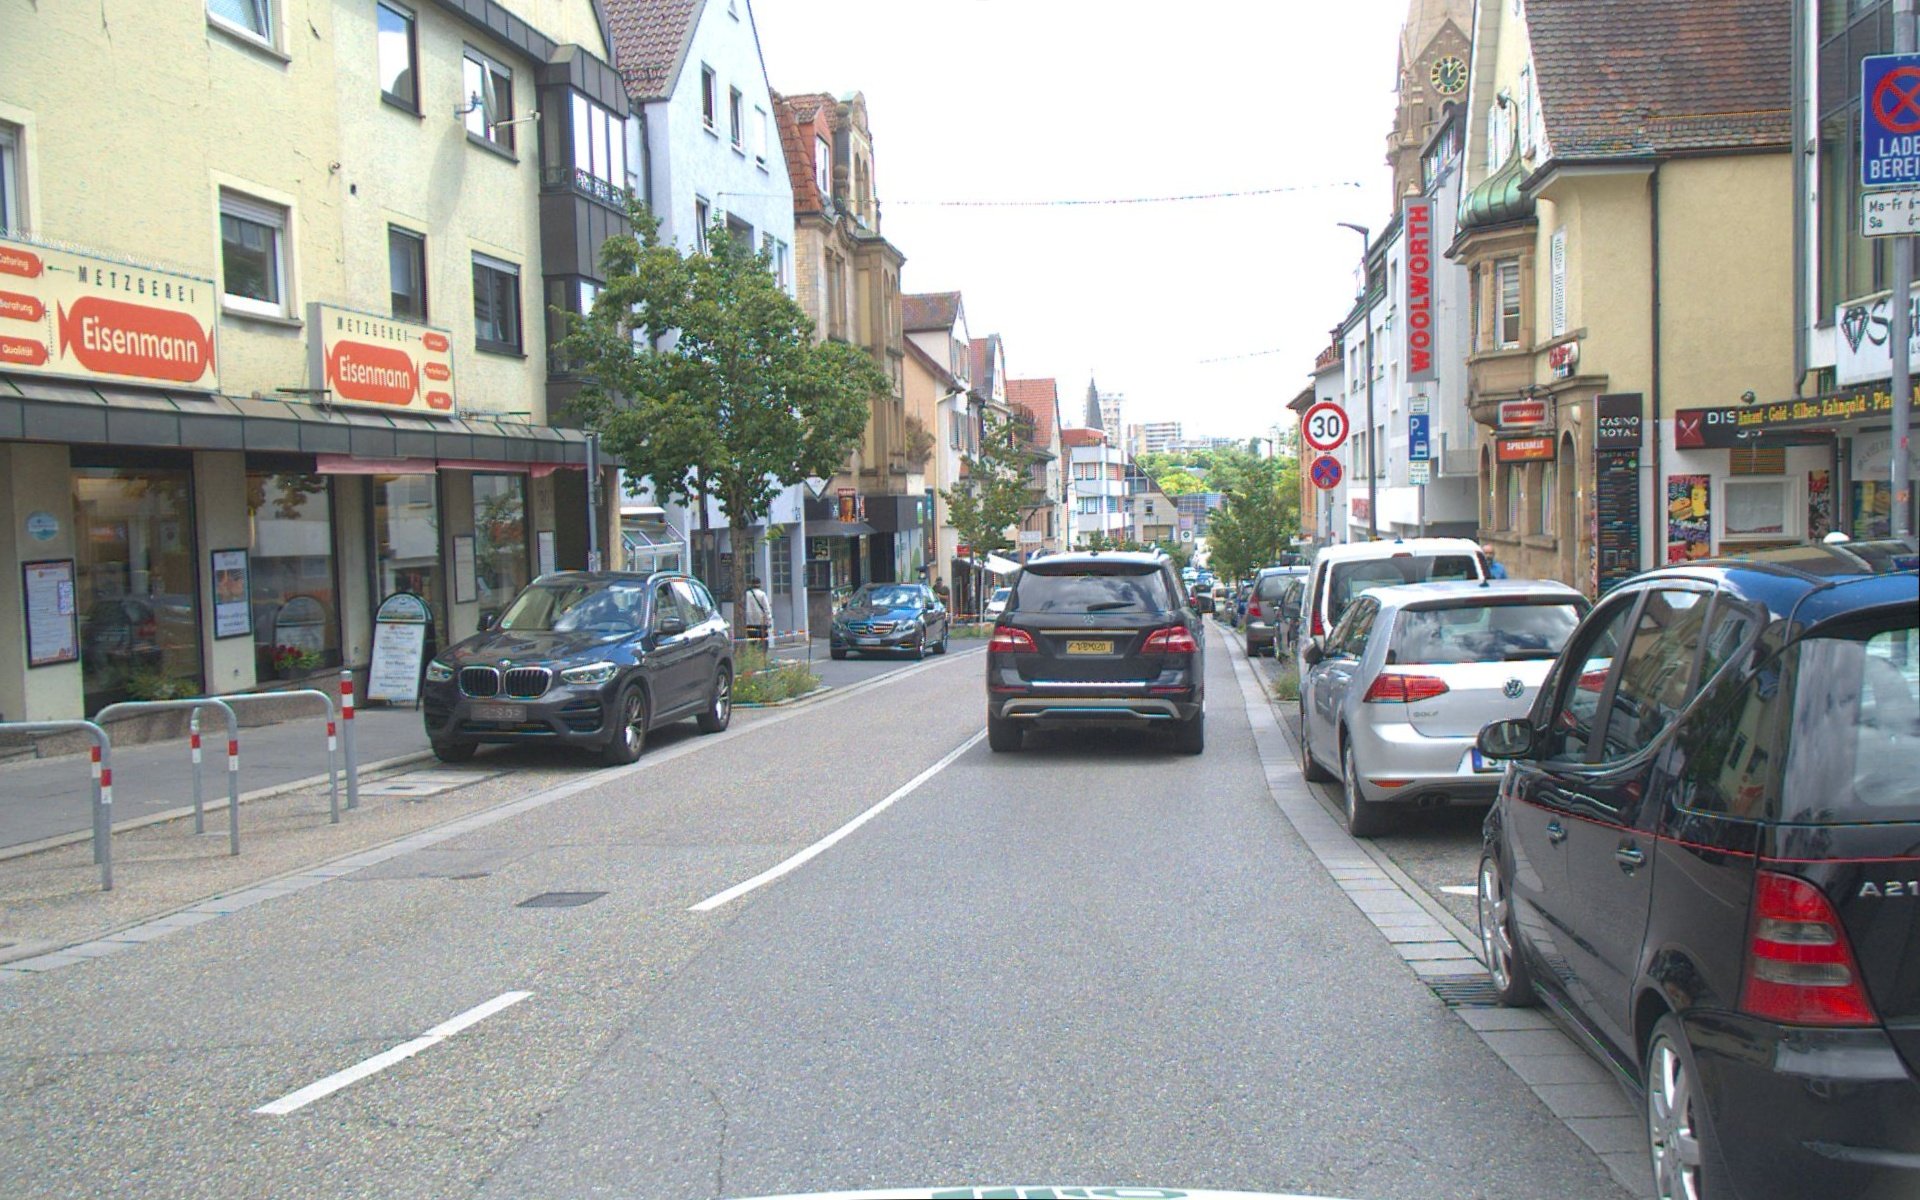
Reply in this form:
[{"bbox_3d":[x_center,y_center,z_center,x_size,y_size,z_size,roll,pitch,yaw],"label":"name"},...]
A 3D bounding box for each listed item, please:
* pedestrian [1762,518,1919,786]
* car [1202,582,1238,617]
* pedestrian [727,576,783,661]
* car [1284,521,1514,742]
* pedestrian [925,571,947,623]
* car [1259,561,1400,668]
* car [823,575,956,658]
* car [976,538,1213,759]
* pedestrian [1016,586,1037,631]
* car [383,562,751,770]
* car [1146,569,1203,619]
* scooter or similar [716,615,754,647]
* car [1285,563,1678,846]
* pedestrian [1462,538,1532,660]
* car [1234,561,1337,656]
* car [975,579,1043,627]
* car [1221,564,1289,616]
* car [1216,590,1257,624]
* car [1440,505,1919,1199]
[{"bbox_3d":[5.845,0.333,10.927,0.806,1.695,0.802,-1,0,14],"label":"pedestrian"},{"bbox_3d":[15.562,-0.056,99.085,1.897,1.924,4.711,-3,0,8],"label":"car"},{"bbox_3d":[-3.693,0.322,29.832,0.808,1.489,0.810,1,0,8],"label":"pedestrian"},{"bbox_3d":[4.137,0.240,16.160,1.836,1.831,4.736,-1,1,12],"label":"car"},{"bbox_3d":[-0.689,-0.076,48.057,0.480,1.489,0.559,1,0,17],"label":"pedestrian"},{"bbox_3d":[5.905,0.209,26.797,1.711,1.535,3.877,-3,0,6],"label":"car"},{"bbox_3d":[-1.340,0.273,33.443,1.885,1.518,4.846,1,1,7],"label":"car"},{"bbox_3d":[1.404,0.392,15.620,1.902,1.770,4.182,-1,0,8],"label":"car"},{"bbox_3d":[2.526,0.311,63.091,0.721,1.701,0.863,-1,0,6],"label":"pedestrian"},{"bbox_3d":[-3.610,0.495,16.205,1.964,1.723,4.611,0,1,8],"label":"car"},{"bbox_3d":[7.068,-0.195,54.275,1.747,1.567,3.747,-1,0,8],"label":"car"},{"bbox_3d":[-3.959,0.540,29.110,0.513,0.528,0.573,1,0,8],"label":"scooter or similar"},{"bbox_3d":[3.217,0.554,10.982,1.667,1.493,4.003,-2,0,6],"label":"car"},{"bbox_3d":[7.966,-0.017,24.563,0.779,1.757,1.054,-2,0,8],"label":"pedestrian"},{"bbox_3d":[6.162,0.135,31.627,1.711,1.636,3.803,-3,0,9],"label":"car"},{"bbox_3d":[1.699,0.057,55.972,1.885,1.537,4.265,1,1,7],"label":"car"},{"bbox_3d":[9.750,-0.304,54.912,1.712,1.524,3.801,-4,-1,3],"label":"car"},{"bbox_3d":[13.652,0.309,81.849,1.711,1.491,4.078,-4,0,7],"label":"car"},{"bbox_3d":[2.612,0.578,4.869,1.765,1.582,3.957,-2,0,9],"label":"car"}]
